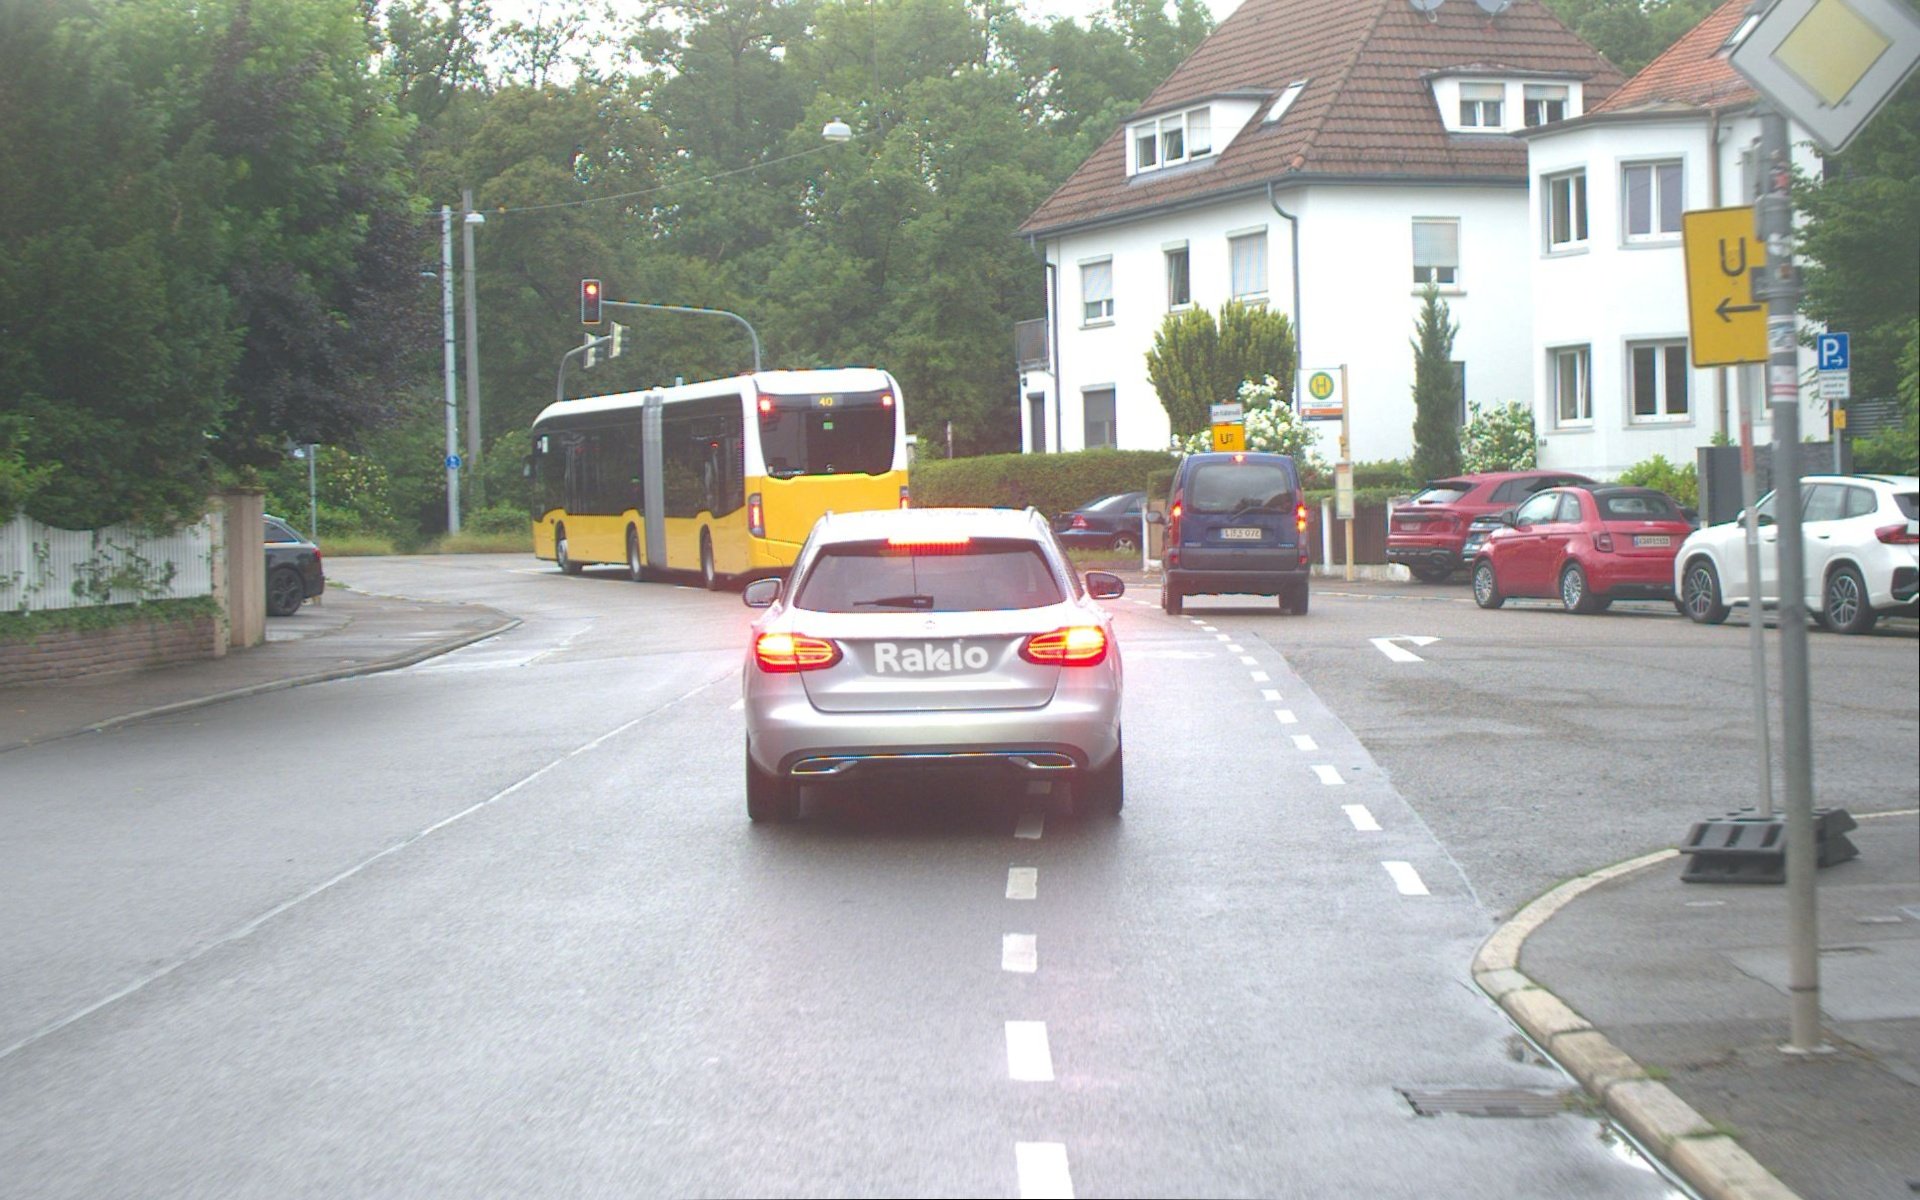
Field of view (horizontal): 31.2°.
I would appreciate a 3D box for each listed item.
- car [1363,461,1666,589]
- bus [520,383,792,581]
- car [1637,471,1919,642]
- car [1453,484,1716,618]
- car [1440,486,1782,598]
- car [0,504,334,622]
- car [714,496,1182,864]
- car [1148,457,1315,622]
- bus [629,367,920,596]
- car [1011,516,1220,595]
[{"bbox_3d":[8.400,-1.159,52.069,4.072,1.744,2.001,-3,3,-25],"label":"car"},{"bbox_3d":[-5.829,-2.206,64.280,2.899,3.386,9.044,-2,2,-19],"label":"bus"},{"bbox_3d":[9.096,-0.498,36.023,1.743,1.667,4.649,0,2,-20],"label":"car"},{"bbox_3d":[7.428,-0.620,41.191,1.611,1.532,3.542,0,2,-17],"label":"car"},{"bbox_3d":[9.479,-0.870,50.026,4.546,1.411,2.001,-3,3,-25],"label":"car"},{"bbox_3d":[-10.906,-0.534,46.912,1.802,1.490,4.673,2,2,36],"label":"car"},{"bbox_3d":[-0.076,0.279,17.094,1.993,1.474,4.487,-1,3,-1],"label":"car"},{"bbox_3d":[3.192,-0.707,40.000,1.809,1.791,3.999,-1,1,6],"label":"car"},{"bbox_3d":[-3.168,-1.918,55.777,2.676,3.386,8.683,-2,2,-17],"label":"bus"},{"bbox_3d":[3.029,-0.887,67.159,3.742,1.383,1.617,-2,4,-20],"label":"car"}]
